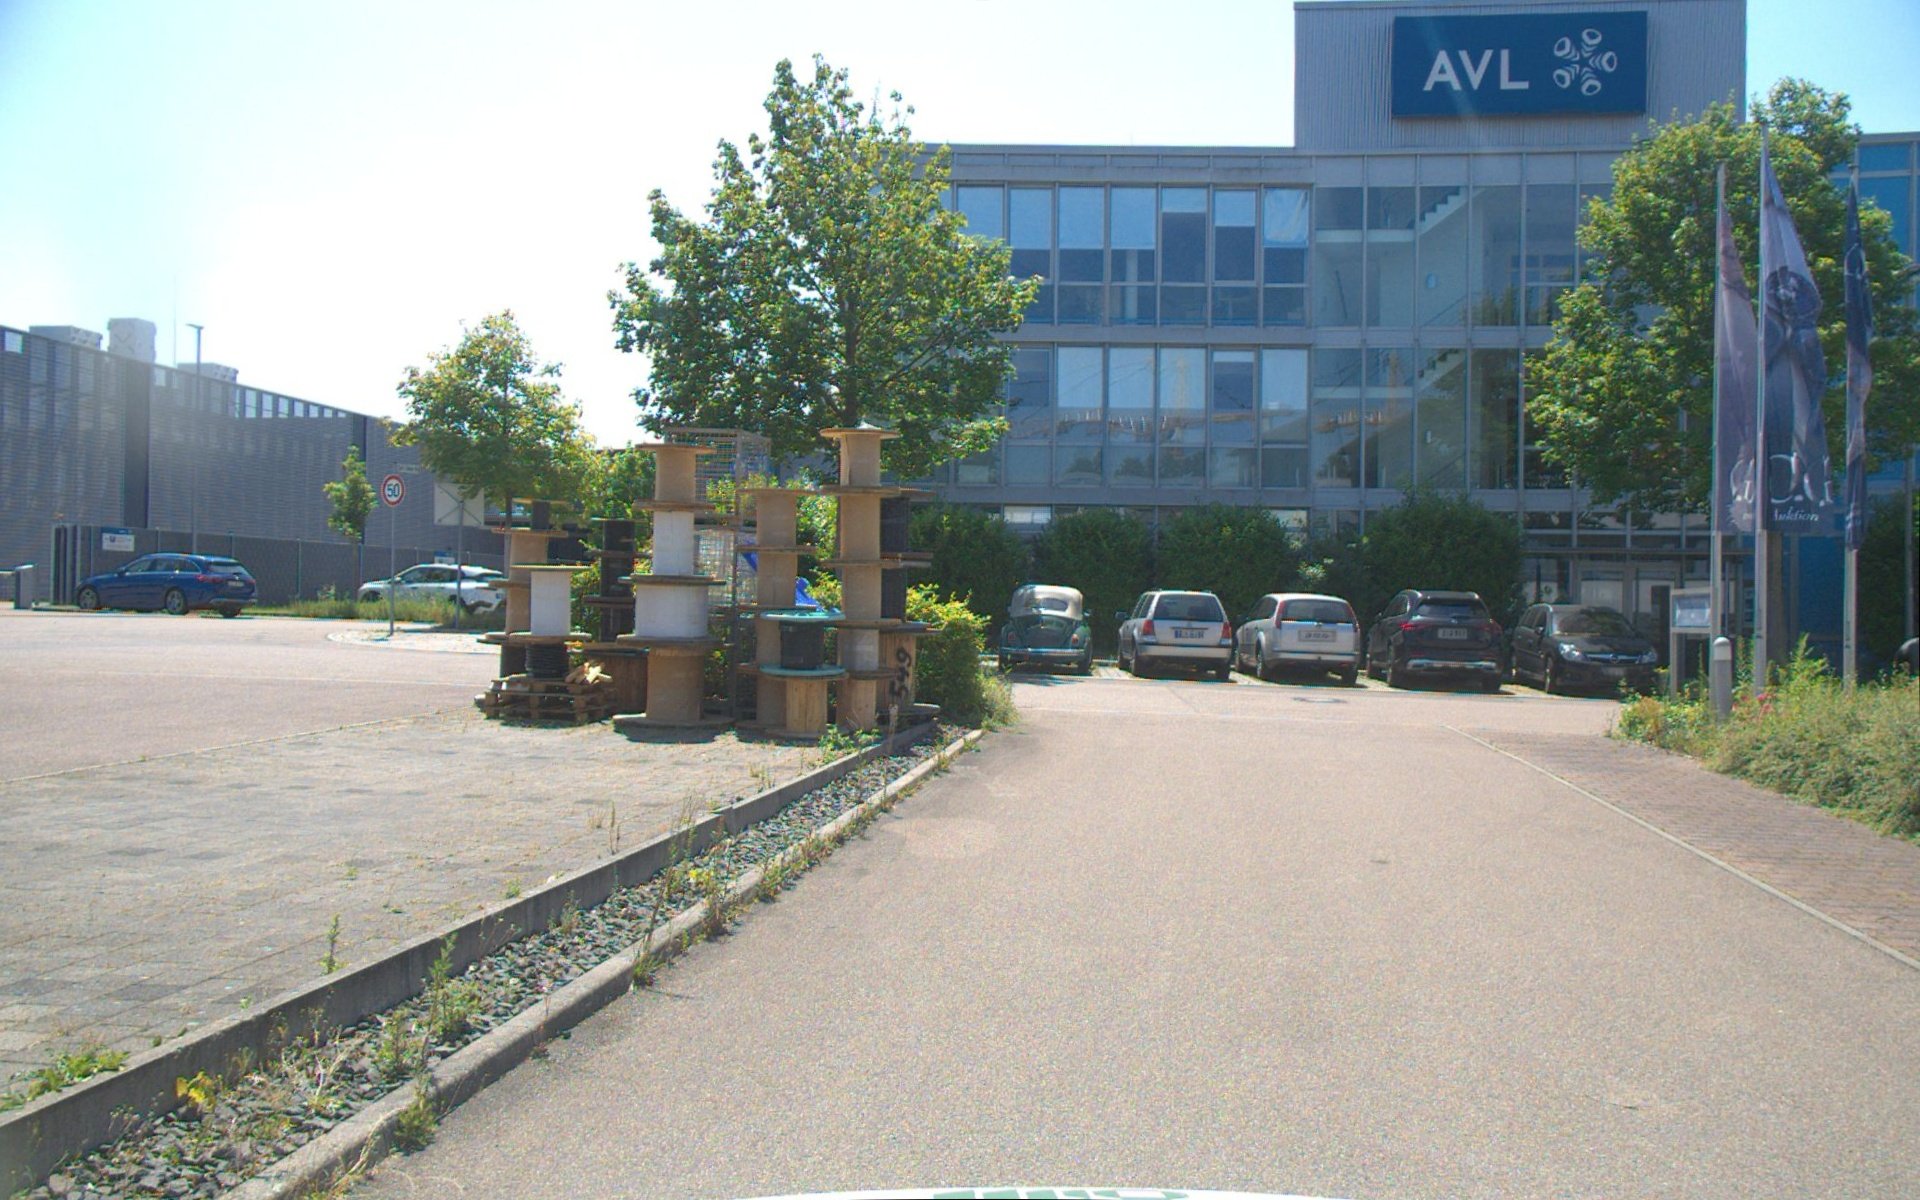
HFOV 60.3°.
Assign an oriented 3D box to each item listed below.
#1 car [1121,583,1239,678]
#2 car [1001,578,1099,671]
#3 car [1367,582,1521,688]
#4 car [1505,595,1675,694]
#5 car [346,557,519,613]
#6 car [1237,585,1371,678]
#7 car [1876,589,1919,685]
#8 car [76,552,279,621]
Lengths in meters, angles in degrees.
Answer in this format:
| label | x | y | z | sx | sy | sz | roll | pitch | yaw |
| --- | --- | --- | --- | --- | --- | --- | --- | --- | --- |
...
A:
| label | x | y | z | sx | sy | sz | roll | pitch | yaw |
| --- | --- | --- | --- | --- | --- | --- | --- | --- | --- |
| car | 3.830 | 0.490 | 29.327 | 1.696 | 1.474 | 3.655 | 2 | 1 | 2 |
| car | 1.647 | 0.384 | 29.337 | 1.509 | 1.474 | 3.657 | 2 | 1 | 6 |
| car | 8.404 | 0.542 | 29.047 | 1.886 | 1.638 | 3.989 | 2 | 1 | 6 |
| car | 10.889 | 0.709 | 28.885 | 1.732 | 1.507 | 4.262 | 1 | 1 | 6 |
| car | -15.861 | -0.457 | 49.752 | 4.740 | 1.517 | 2.000 | 2 | 1 | 22 |
| car | 6.093 | 0.517 | 29.682 | 1.728 | 1.474 | 3.655 | 2 | 1 | 2 |
| car | 17.427 | 0.672 | 28.010 | 1.781 | 1.648 | 4.343 | 1 | 1 | 6 |
| car | -19.147 | -0.352 | 40.483 | 4.408 | 1.517 | 2.000 | 2 | 1 | 22 |
